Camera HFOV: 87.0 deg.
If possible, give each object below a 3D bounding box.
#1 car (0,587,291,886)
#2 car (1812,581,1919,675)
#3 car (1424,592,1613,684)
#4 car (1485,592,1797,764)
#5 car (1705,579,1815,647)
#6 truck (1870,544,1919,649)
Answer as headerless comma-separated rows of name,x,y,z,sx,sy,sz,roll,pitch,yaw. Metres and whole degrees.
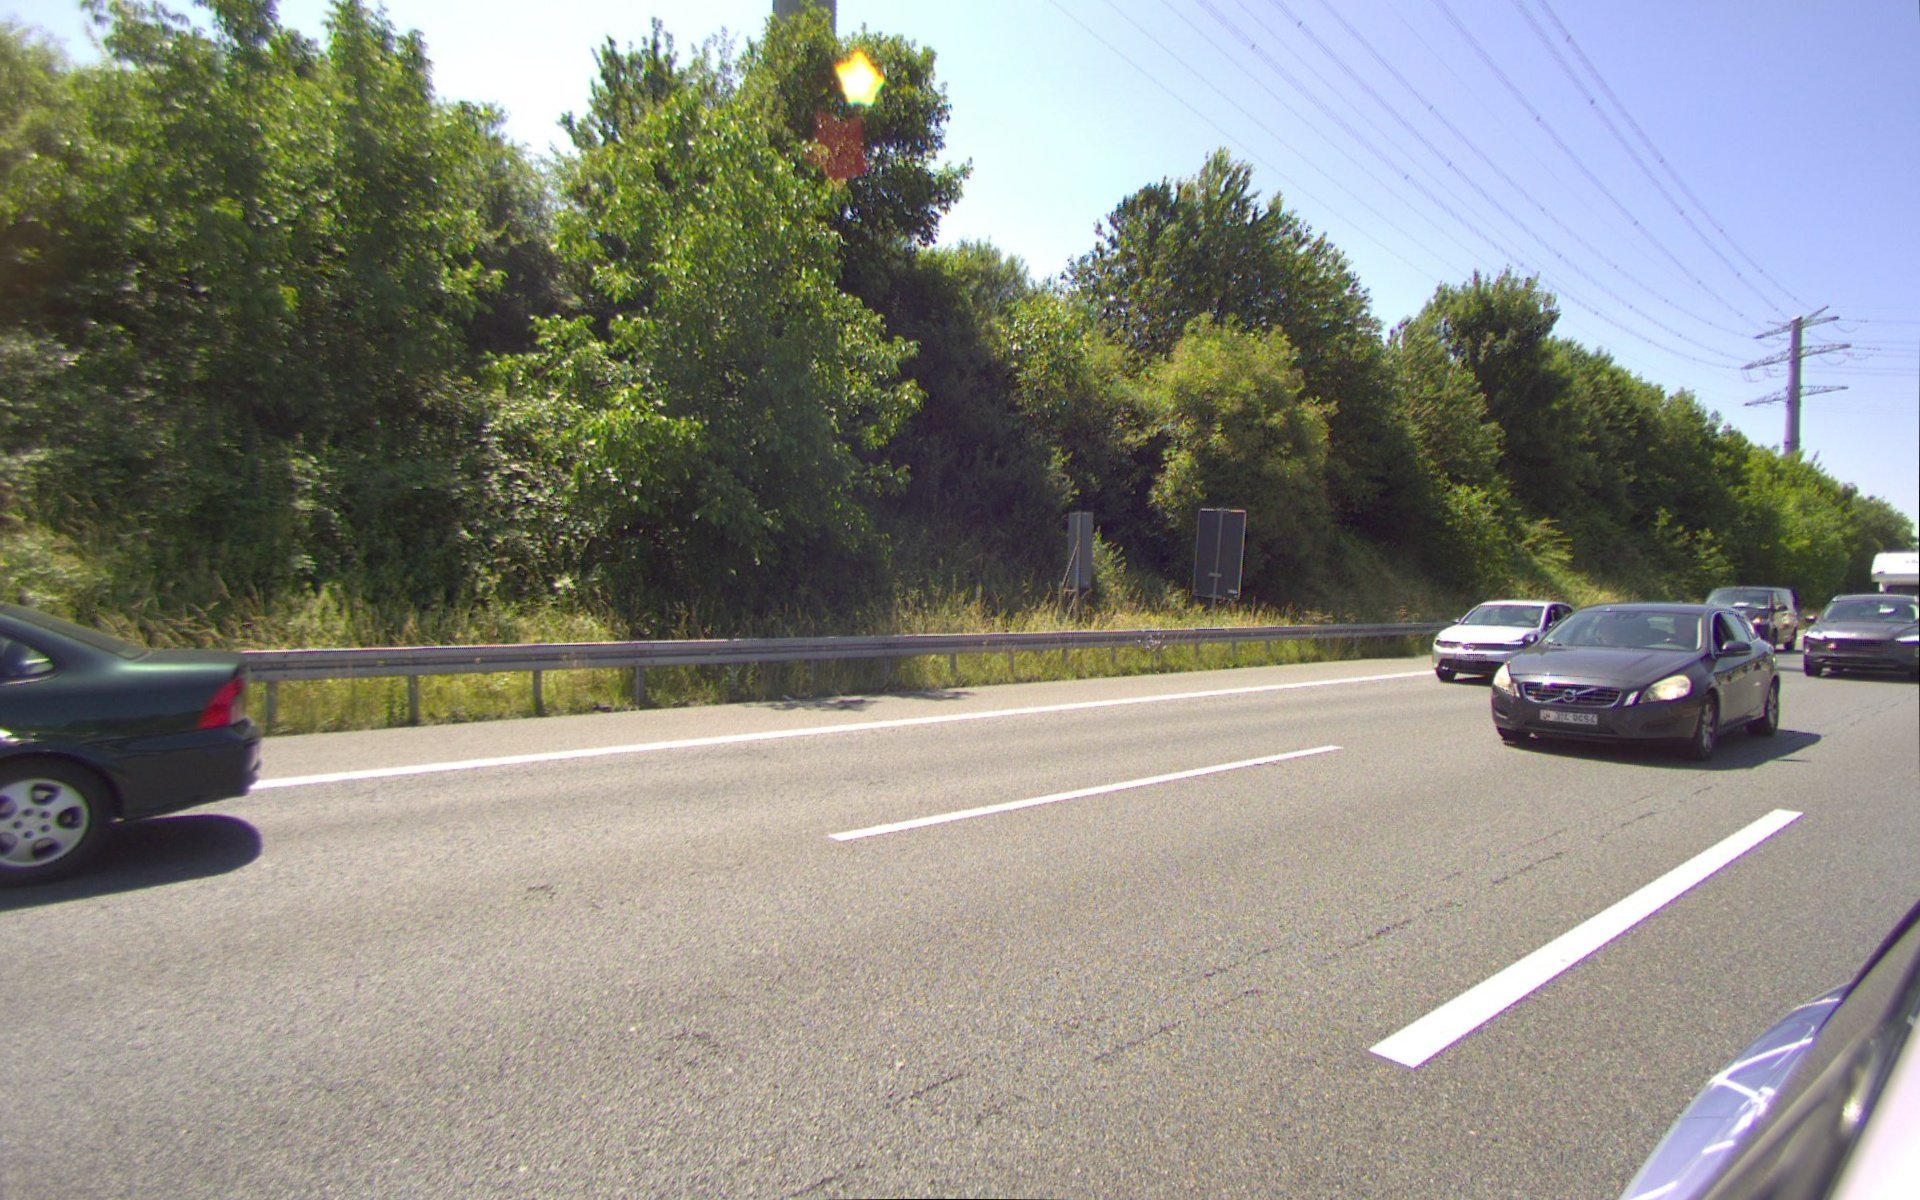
car,-5.773,0.641,4.751,4.227,1.395,1.737,0,0,-41
car,18.859,0.503,20.487,4.308,1.724,1.890,0,0,-42
car,10.180,0.601,18.343,3.943,1.488,1.744,0,0,-40
car,7.301,0.650,10.686,4.158,1.455,1.798,0,0,-42
car,24.388,0.355,30.803,4.616,1.928,1.787,0,0,-41
truck,31.679,-0.140,32.305,9.721,3.053,2.513,0,0,-40
